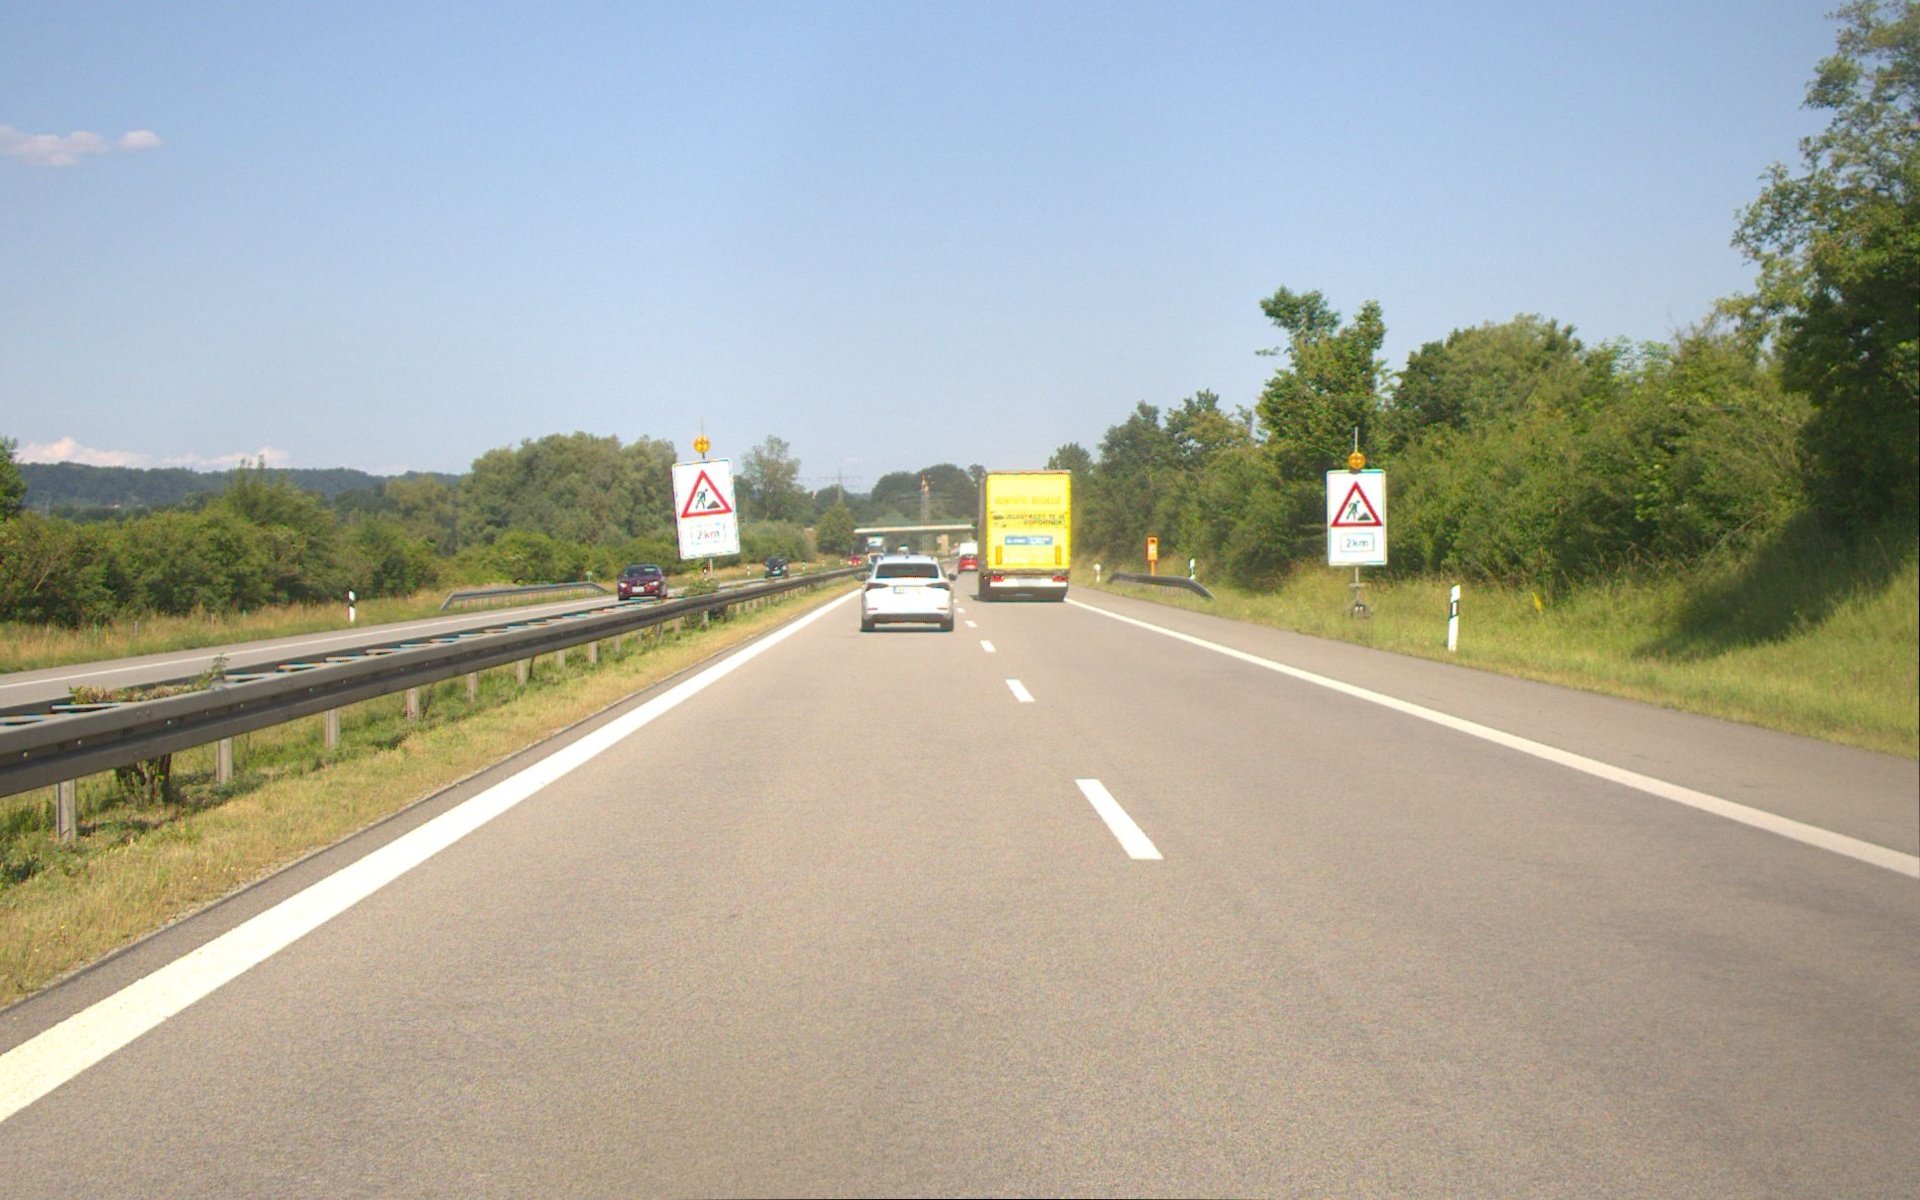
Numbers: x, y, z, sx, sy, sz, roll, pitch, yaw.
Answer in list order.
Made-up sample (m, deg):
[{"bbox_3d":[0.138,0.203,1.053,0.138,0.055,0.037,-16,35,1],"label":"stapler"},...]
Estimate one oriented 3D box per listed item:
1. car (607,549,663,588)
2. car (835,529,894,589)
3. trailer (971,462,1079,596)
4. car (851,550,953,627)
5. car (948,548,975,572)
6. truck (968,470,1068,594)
[{"bbox_3d":[-13.122,-1.291,139.192,1.832,1.393,4.923,-4,1,-1],"label":"car"},{"bbox_3d":[-3.310,-1.422,119.564,1.993,2.007,4.000,1,1,-1],"label":"car"},{"bbox_3d":[2.001,-2.219,111.428,3.184,4.045,13.187,1,1,0],"label":"trailer"},{"bbox_3d":[-1.085,-0.239,66.480,1.843,1.411,4.000,1,1,1],"label":"car"},{"bbox_3d":[0.086,-2.994,256.640,1.902,1.677,4.731,2,1,-1],"label":"car"},{"bbox_3d":[1.936,-2.303,117.626,3.168,4.100,6.389,1,1,-1],"label":"truck"}]
